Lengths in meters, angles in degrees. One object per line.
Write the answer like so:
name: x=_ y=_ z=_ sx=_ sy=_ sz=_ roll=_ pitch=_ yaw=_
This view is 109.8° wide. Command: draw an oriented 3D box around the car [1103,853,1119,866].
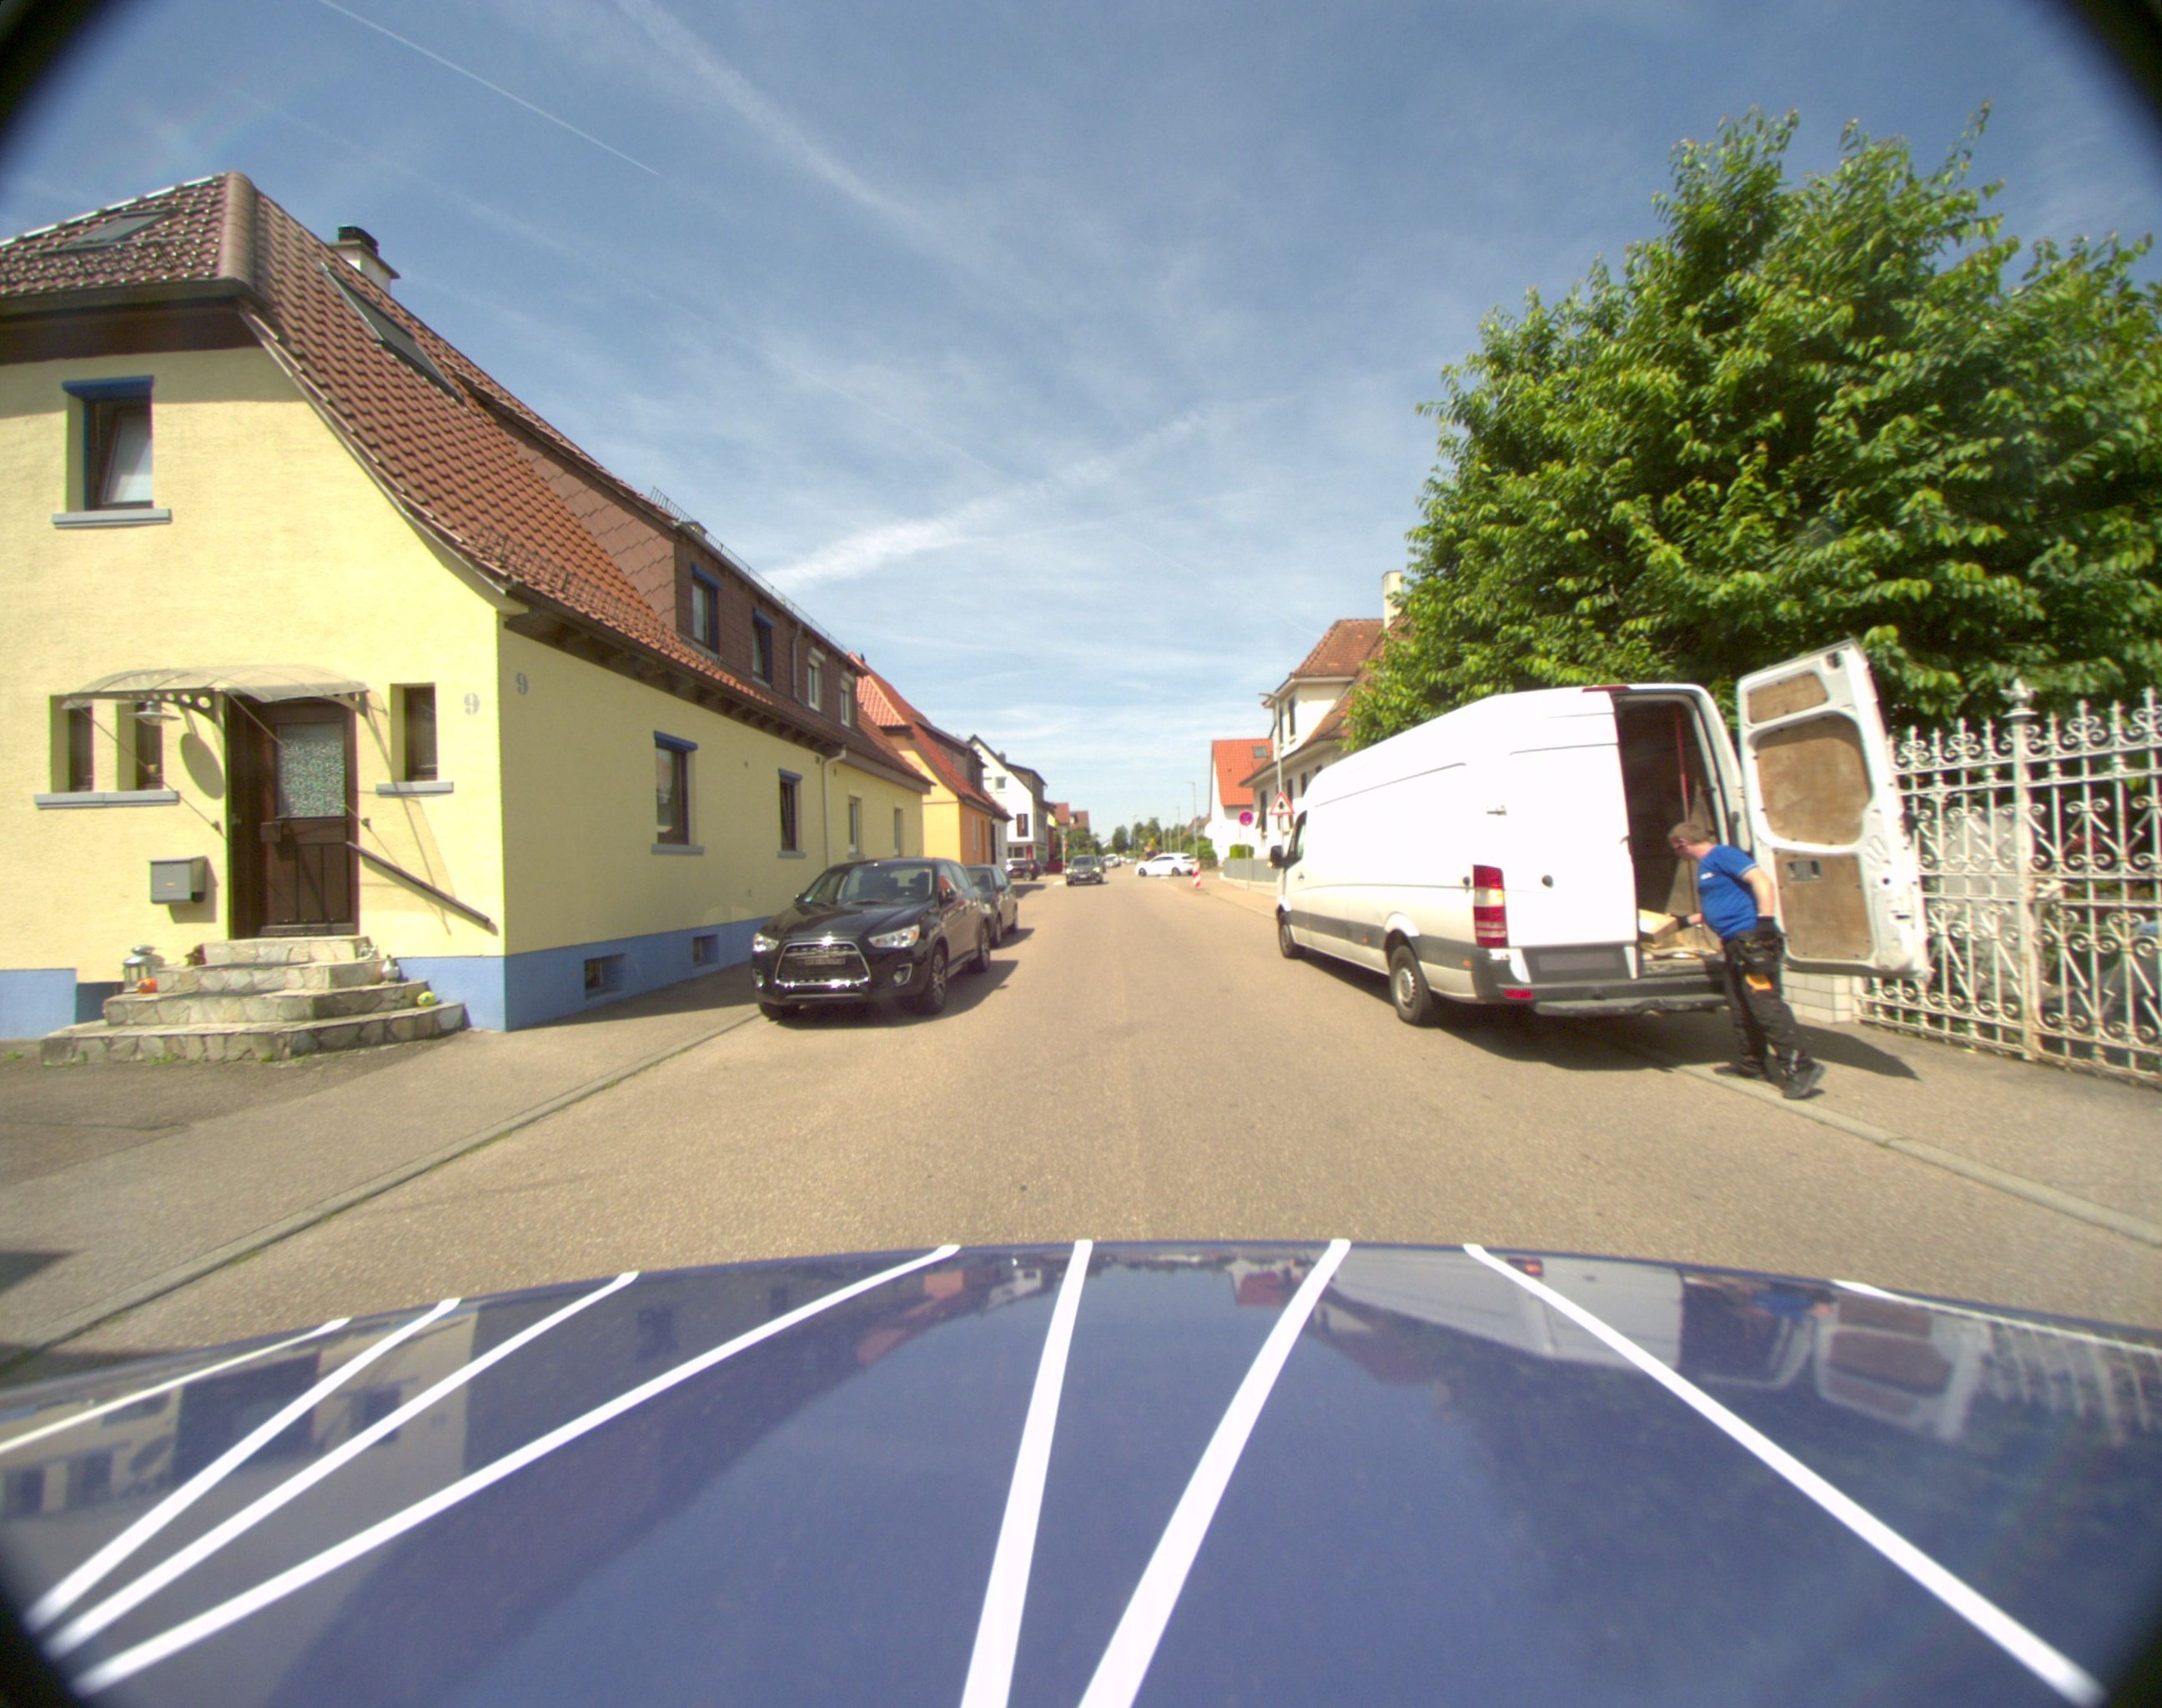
car: x=3.786 y=0.684 z=96.123 sx=1.755 sy=1.412 sz=4.422 roll=-2 pitch=0 yaw=5

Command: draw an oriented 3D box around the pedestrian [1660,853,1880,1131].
pedestrian: x=4.110 y=0.768 z=4.586 sx=0.574 sy=1.509 sz=0.726 roll=-4 pitch=1 yaw=0

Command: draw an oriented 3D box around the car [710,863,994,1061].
car: x=-2.239 y=0.963 z=8.718 sx=1.732 sy=1.590 sz=4.254 roll=-3 pitch=0 yaw=2

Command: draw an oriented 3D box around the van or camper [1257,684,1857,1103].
van or camper: x=3.802 y=0.254 z=8.209 sx=2.190 sy=2.556 sz=6.807 roll=-3 pitch=0 yaw=1

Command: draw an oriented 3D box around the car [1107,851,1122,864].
car: x=4.590 y=0.499 z=102.700 sx=1.740 sy=1.652 sz=4.338 roll=-4 pitch=0 yaw=5

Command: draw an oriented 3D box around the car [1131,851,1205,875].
car: x=5.653 y=0.602 z=49.808 sx=4.482 sy=1.390 sz=1.933 roll=-2 pitch=0 yaw=43

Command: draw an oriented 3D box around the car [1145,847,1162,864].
car: x=8.955 y=0.124 z=93.518 sx=1.972 sy=1.940 sz=4.698 roll=-2 pitch=0 yaw=5

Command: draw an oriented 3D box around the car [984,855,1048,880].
car: x=-4.755 y=0.995 z=56.018 sx=4.301 sy=1.643 sz=1.849 roll=-3 pitch=0 yaw=10

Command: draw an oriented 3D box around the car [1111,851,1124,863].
car: x=5.464 y=0.401 z=114.622 sx=1.669 sy=1.739 sz=4.057 roll=-4 pitch=0 yaw=5

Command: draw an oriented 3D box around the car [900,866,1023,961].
car: x=-2.126 y=1.015 z=14.433 sx=1.615 sy=1.422 sz=3.754 roll=-3 pitch=0 yaw=1

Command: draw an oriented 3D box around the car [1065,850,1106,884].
car: x=0.286 y=0.666 z=40.800 sx=1.837 sy=1.637 sz=4.324 roll=-3 pitch=0 yaw=4
